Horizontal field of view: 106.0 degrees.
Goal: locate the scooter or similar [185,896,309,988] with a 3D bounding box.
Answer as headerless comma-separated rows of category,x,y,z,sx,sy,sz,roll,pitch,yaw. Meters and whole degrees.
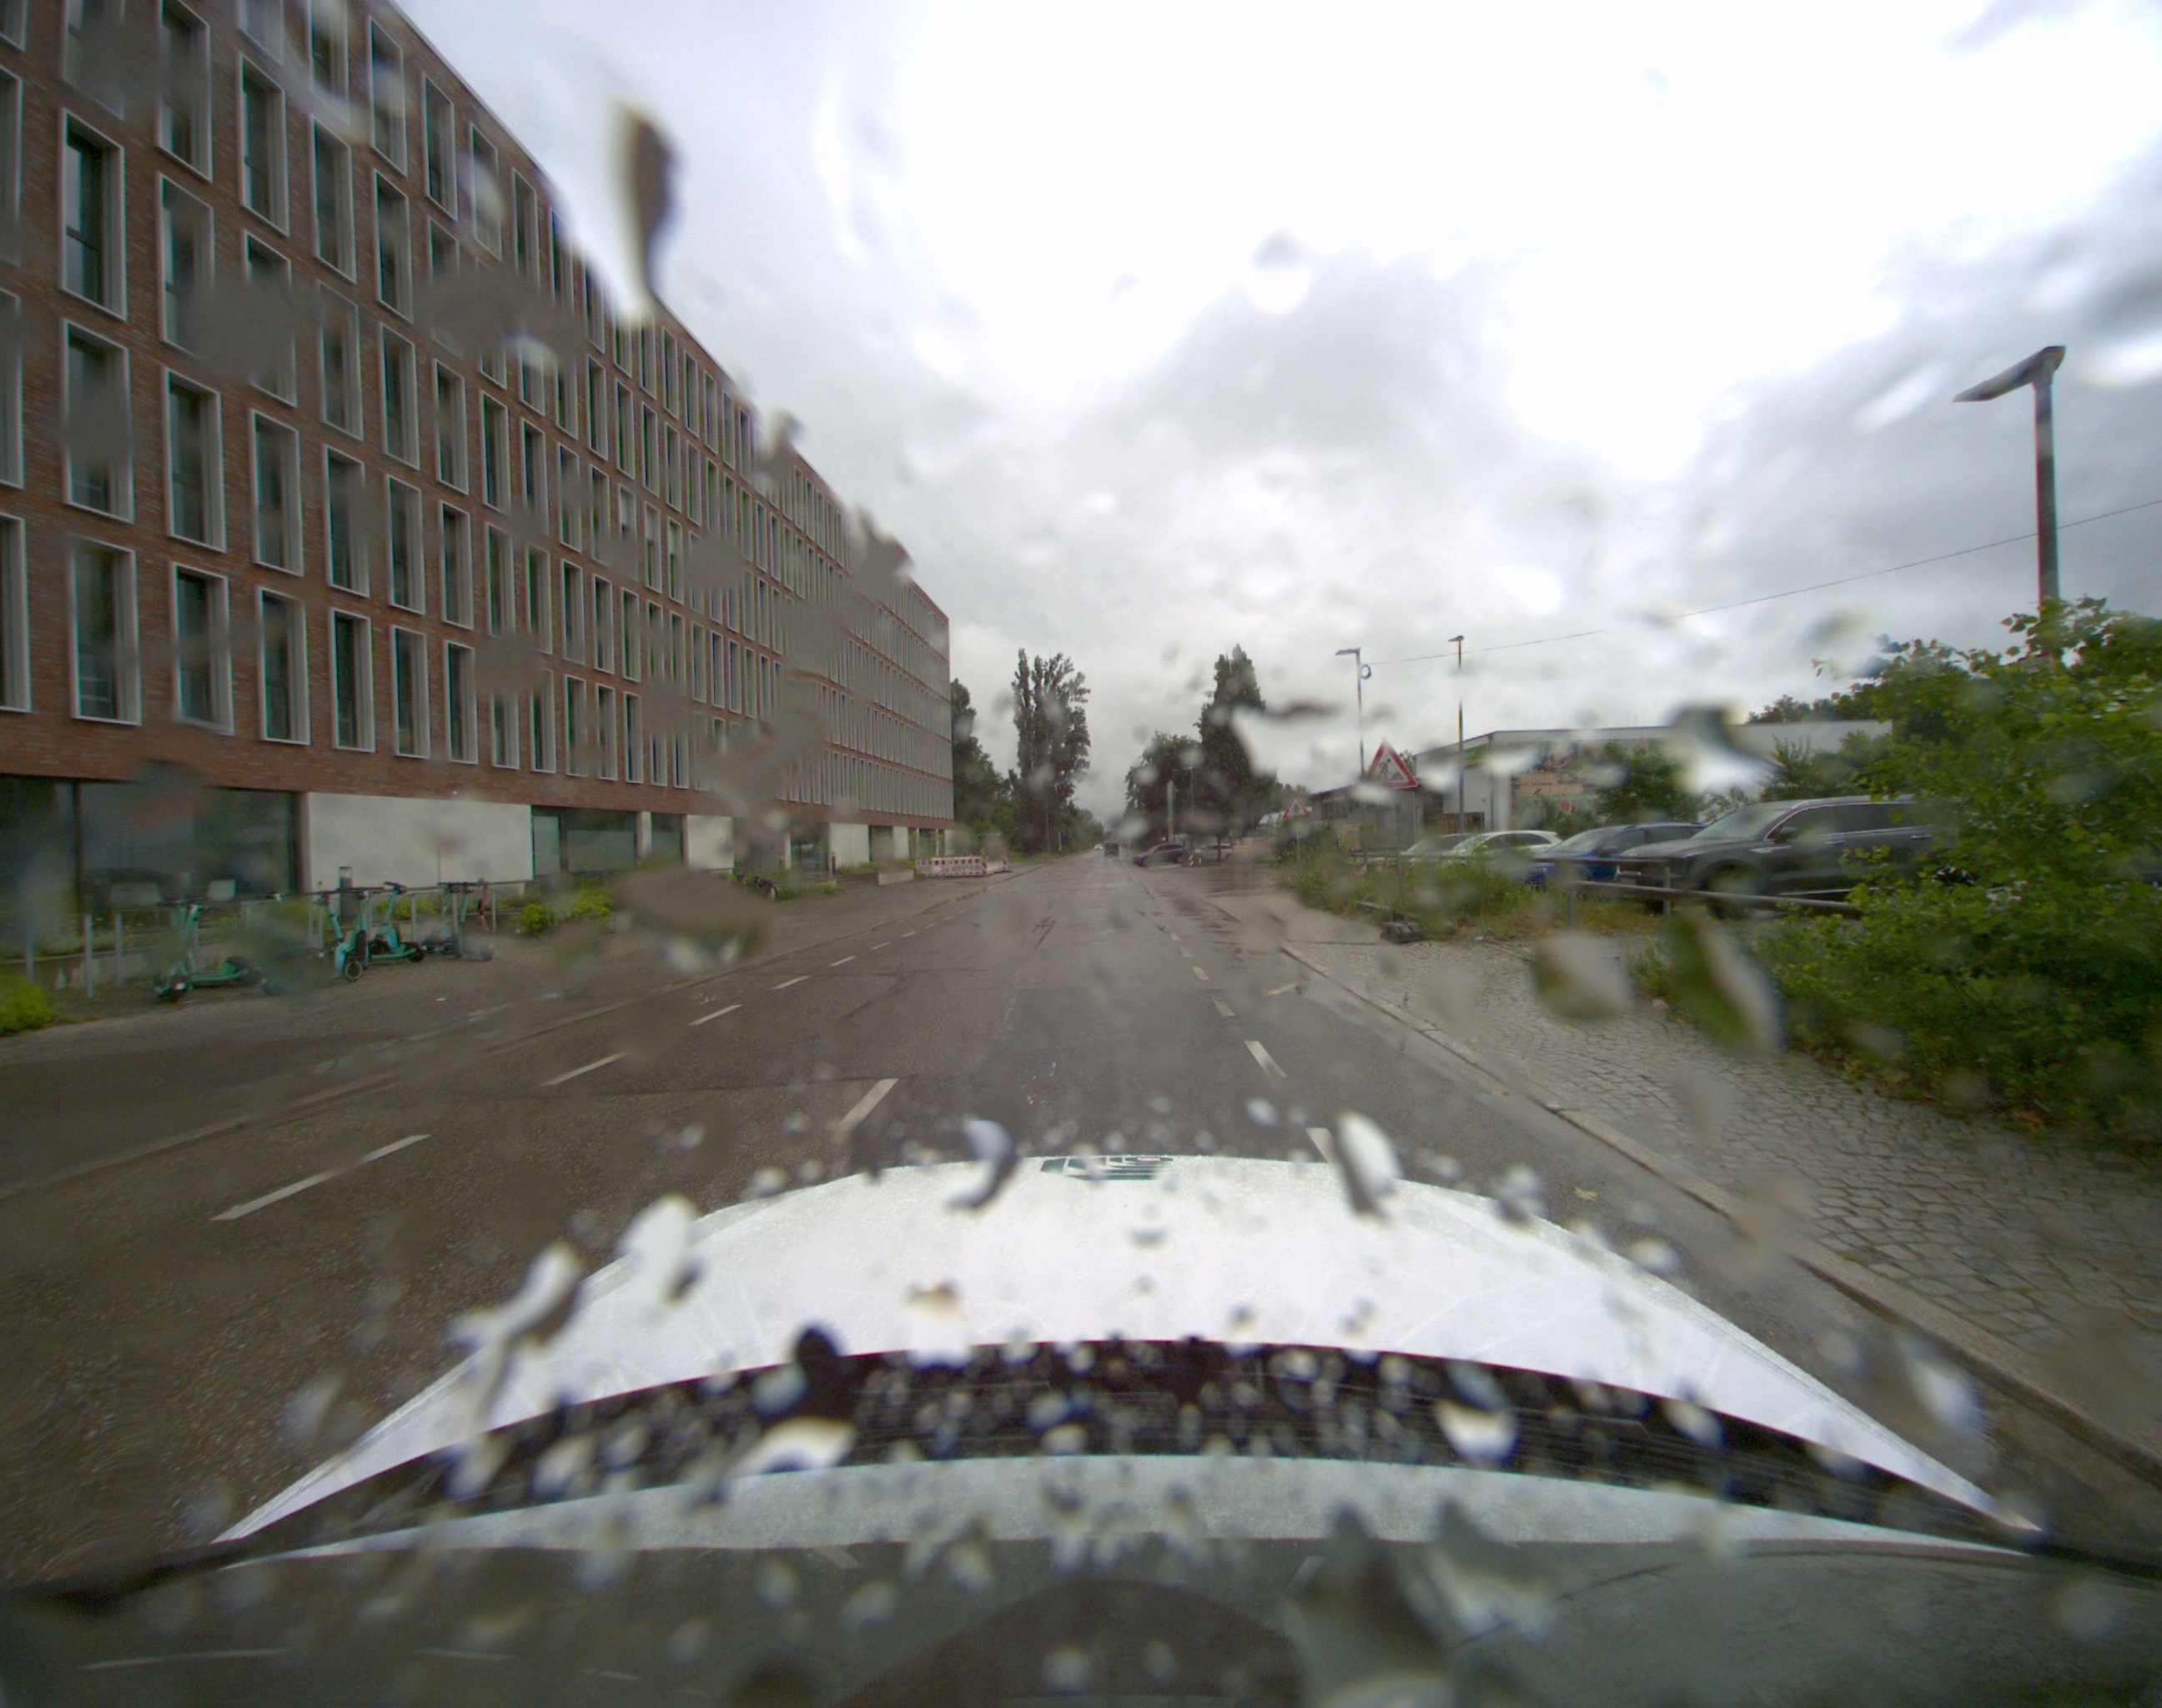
scooter or similar,-11.506,1.209,11.246,1.309,1.177,0.468,-3,0,7

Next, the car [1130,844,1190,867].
car,5.972,0.127,61.615,4.136,1.569,1.759,-2,0,-10

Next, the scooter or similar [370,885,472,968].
scooter or similar,-10.839,1.156,13.393,0.461,1.230,1.215,-2,0,44

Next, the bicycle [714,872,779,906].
bicycle,-10.805,1.131,26.311,1.853,1.077,0.544,0,0,1

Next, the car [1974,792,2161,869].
car,21.802,-0.482,17.025,3.970,1.485,2.001,-1,-1,3

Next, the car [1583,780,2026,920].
car,10.719,-0.023,12.469,4.657,1.735,2.132,-3,-1,6

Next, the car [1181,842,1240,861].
car,10.987,-0.220,69.174,4.687,1.462,1.891,-1,1,0

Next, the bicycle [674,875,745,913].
bicycle,-10.927,1.173,23.988,1.853,1.077,0.544,0,0,1

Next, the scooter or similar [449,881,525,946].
scooter or similar,-11.773,1.181,16.143,1.219,1.208,0.419,-3,0,9

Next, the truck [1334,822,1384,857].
truck,23.622,-1.231,69.586,2.290,2.659,7.428,-3,0,5

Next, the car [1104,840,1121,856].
car,3.929,-0.717,101.047,1.986,1.910,4.202,-2,0,1

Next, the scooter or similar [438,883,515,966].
scooter or similar,-9.560,1.093,12.867,1.304,1.230,0.470,-2,0,31

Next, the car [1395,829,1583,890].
car,11.041,0.153,22.278,4.165,1.510,1.892,-1,-1,2

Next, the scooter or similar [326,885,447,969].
scooter or similar,-10.669,1.108,12.548,1.316,1.177,0.466,-3,0,-10

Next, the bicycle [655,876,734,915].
bicycle,-10.946,1.175,23.099,1.941,1.077,0.621,0,0,1

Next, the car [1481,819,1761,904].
car,10.504,0.157,16.097,4.278,1.517,1.821,-1,-1,2

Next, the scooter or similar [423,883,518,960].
scooter or similar,-10.606,1.154,14.166,0.461,1.208,1.215,-2,0,44

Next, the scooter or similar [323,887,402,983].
scooter or similar,-10.207,1.114,11.607,0.468,1.230,1.309,-3,0,-26

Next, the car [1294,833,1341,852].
car,24.853,-1.234,85.579,4.343,1.832,2.065,-2,1,3

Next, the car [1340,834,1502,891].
car,10.525,0.253,25.350,4.212,1.400,1.886,-4,-1,-6

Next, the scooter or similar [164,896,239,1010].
scooter or similar,-10.462,1.130,9.677,1.304,1.230,0.511,-2,0,41

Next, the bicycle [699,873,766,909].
bicycle,-10.874,1.148,25.469,1.853,1.077,0.544,0,0,1

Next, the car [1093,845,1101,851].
car,4.083,-1.532,201.925,1.726,1.450,4.385,-4,1,3

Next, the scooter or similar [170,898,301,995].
scooter or similar,-11.082,1.204,10.687,1.309,1.177,0.468,-3,0,7

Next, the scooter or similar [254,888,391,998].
scooter or similar,-9.621,1.092,10.395,0.464,1.230,1.320,-3,0,-1

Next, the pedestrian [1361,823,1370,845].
pedestrian,22.955,-1.603,65.688,0.453,1.718,0.434,-3,0,5

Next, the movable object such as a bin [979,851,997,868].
movable object such as a bin,-7.494,0.454,65.595,1.293,1.308,1.446,-2,1,-4

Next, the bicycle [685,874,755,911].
bicycle,-10.904,1.164,24.638,1.853,1.077,0.544,0,0,1

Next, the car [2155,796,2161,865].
car,27.348,-0.685,18.021,4.428,1.672,2.043,-4,-1,-1
